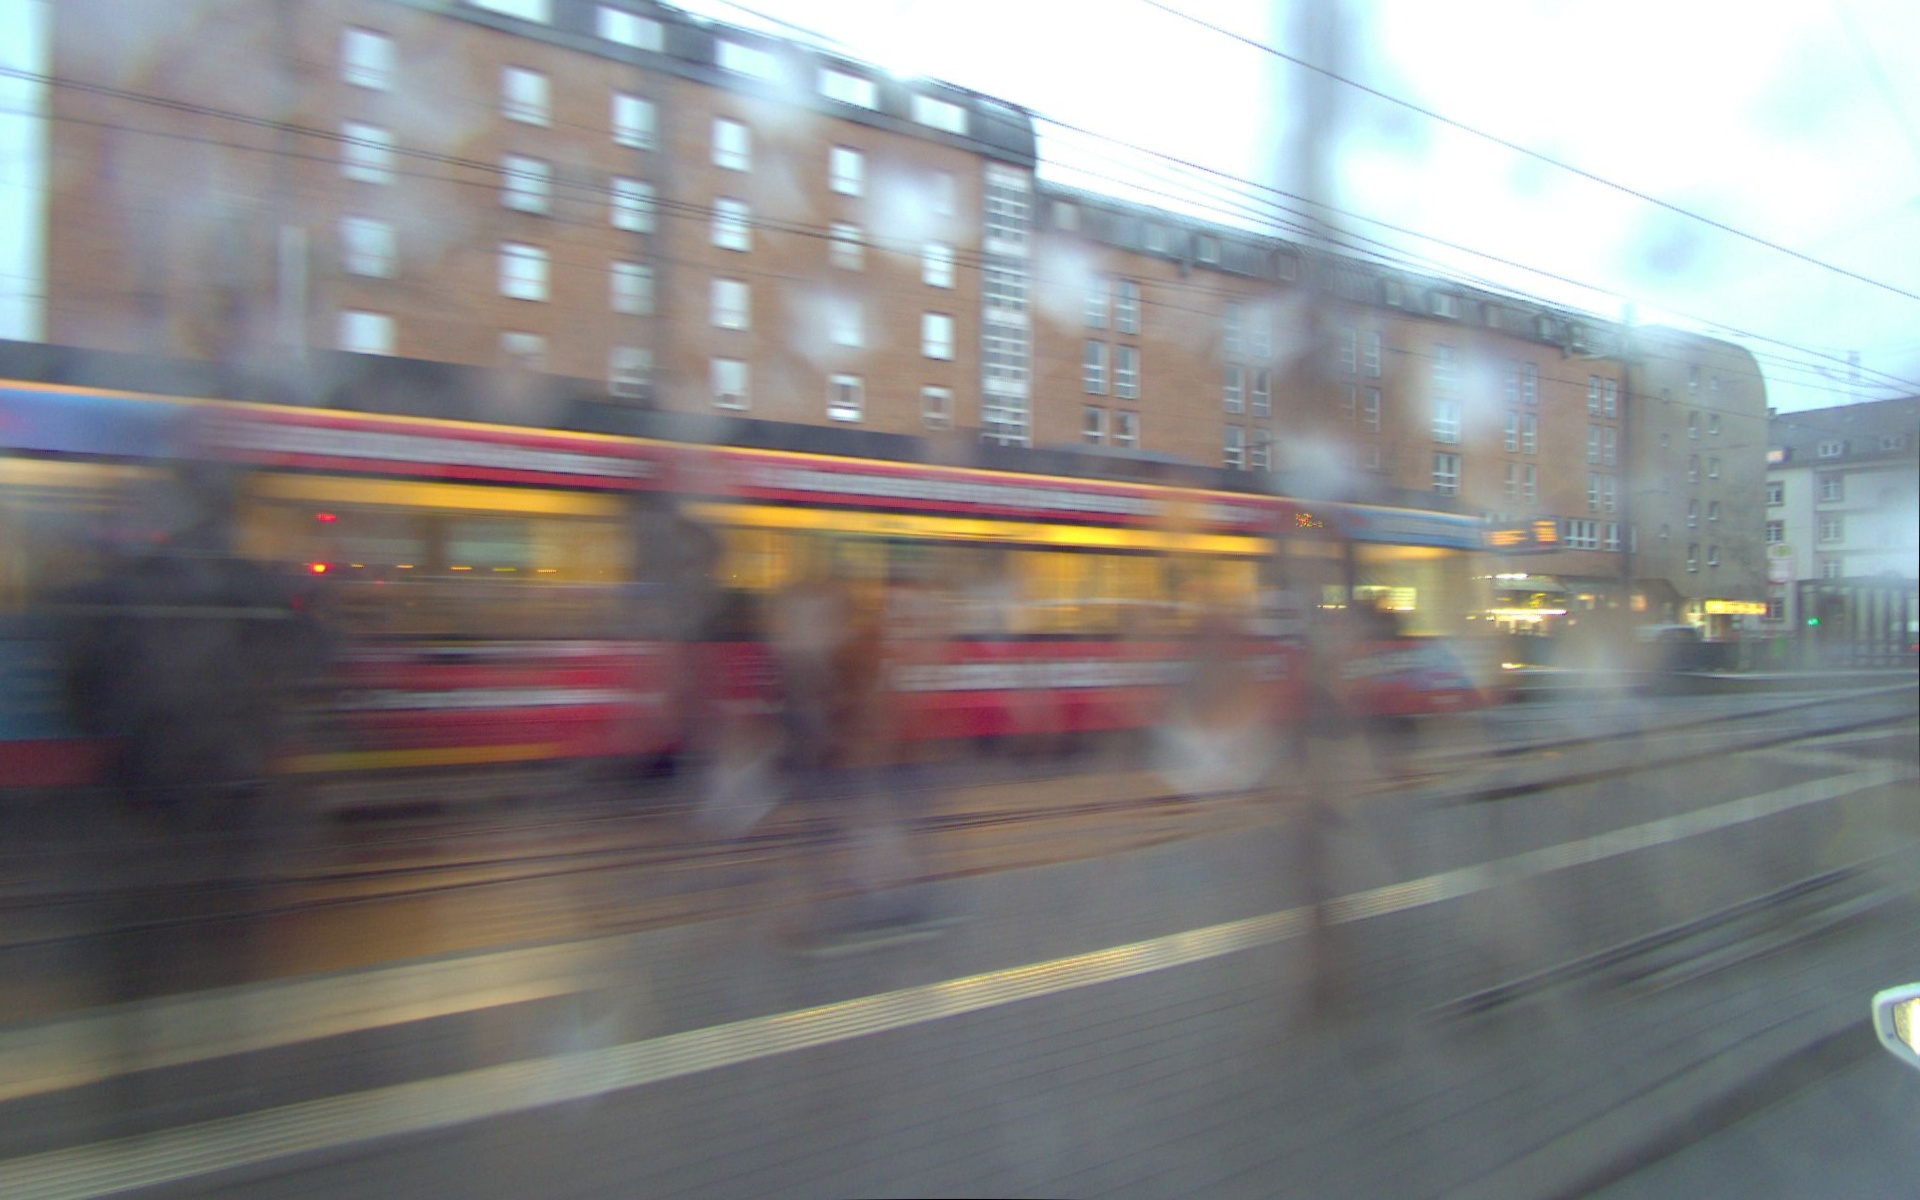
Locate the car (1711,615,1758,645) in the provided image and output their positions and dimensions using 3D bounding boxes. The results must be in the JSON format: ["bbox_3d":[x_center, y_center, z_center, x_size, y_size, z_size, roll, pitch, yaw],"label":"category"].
[{"bbox_3d":[55.216,2.123,71.598,4.109,2.061,1.728,1,-2,-39],"label":"car"}]

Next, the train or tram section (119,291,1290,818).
[{"bbox_3d":[-1.588,-0.216,10.746,10.894,3.626,2.913,1,0,-28],"label":"train or tram section"}]

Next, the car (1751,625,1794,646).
[{"bbox_3d":[57.264,2.515,70.777,4.109,1.449,1.588,1,-2,-39],"label":"car"}]

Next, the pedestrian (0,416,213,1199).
[{"bbox_3d":[-2.202,0.485,2.543,0.435,1.810,0.357,1,-1,-33],"label":"pedestrian"}]

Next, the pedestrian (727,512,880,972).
[{"bbox_3d":[-0.651,0.549,4.155,0.468,1.758,0.431,1,-1,-32],"label":"pedestrian"}]

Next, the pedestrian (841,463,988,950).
[{"bbox_3d":[-0.204,0.440,4.424,0.468,1.993,0.431,1,-1,-32],"label":"pedestrian"}]

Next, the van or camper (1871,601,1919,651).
[{"bbox_3d":[55.782,1.504,57.395,6.652,2.718,2.769,1,0,-21],"label":"van or camper"}]

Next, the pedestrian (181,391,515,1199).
[{"bbox_3d":[-1.568,0.469,2.621,0.662,1.870,0.409,1,-1,-33],"label":"pedestrian"}]

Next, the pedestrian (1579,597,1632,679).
[{"bbox_3d":[15.514,0.898,24.137,0.874,1.911,0.787,1,-1,-35],"label":"pedestrian"}]

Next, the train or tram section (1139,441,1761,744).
[{"bbox_3d":[8.108,0.009,15.837,10.894,3.615,2.888,1,0,-28],"label":"train or tram section"}]

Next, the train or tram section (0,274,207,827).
[{"bbox_3d":[-11.842,-0.451,5.361,12.099,3.637,2.939,1,0,-28],"label":"train or tram section"}]

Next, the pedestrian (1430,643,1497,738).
[{"bbox_3d":[6.537,1.158,13.049,0.483,1.168,0.578,1,0,-26],"label":"pedestrian"}]
